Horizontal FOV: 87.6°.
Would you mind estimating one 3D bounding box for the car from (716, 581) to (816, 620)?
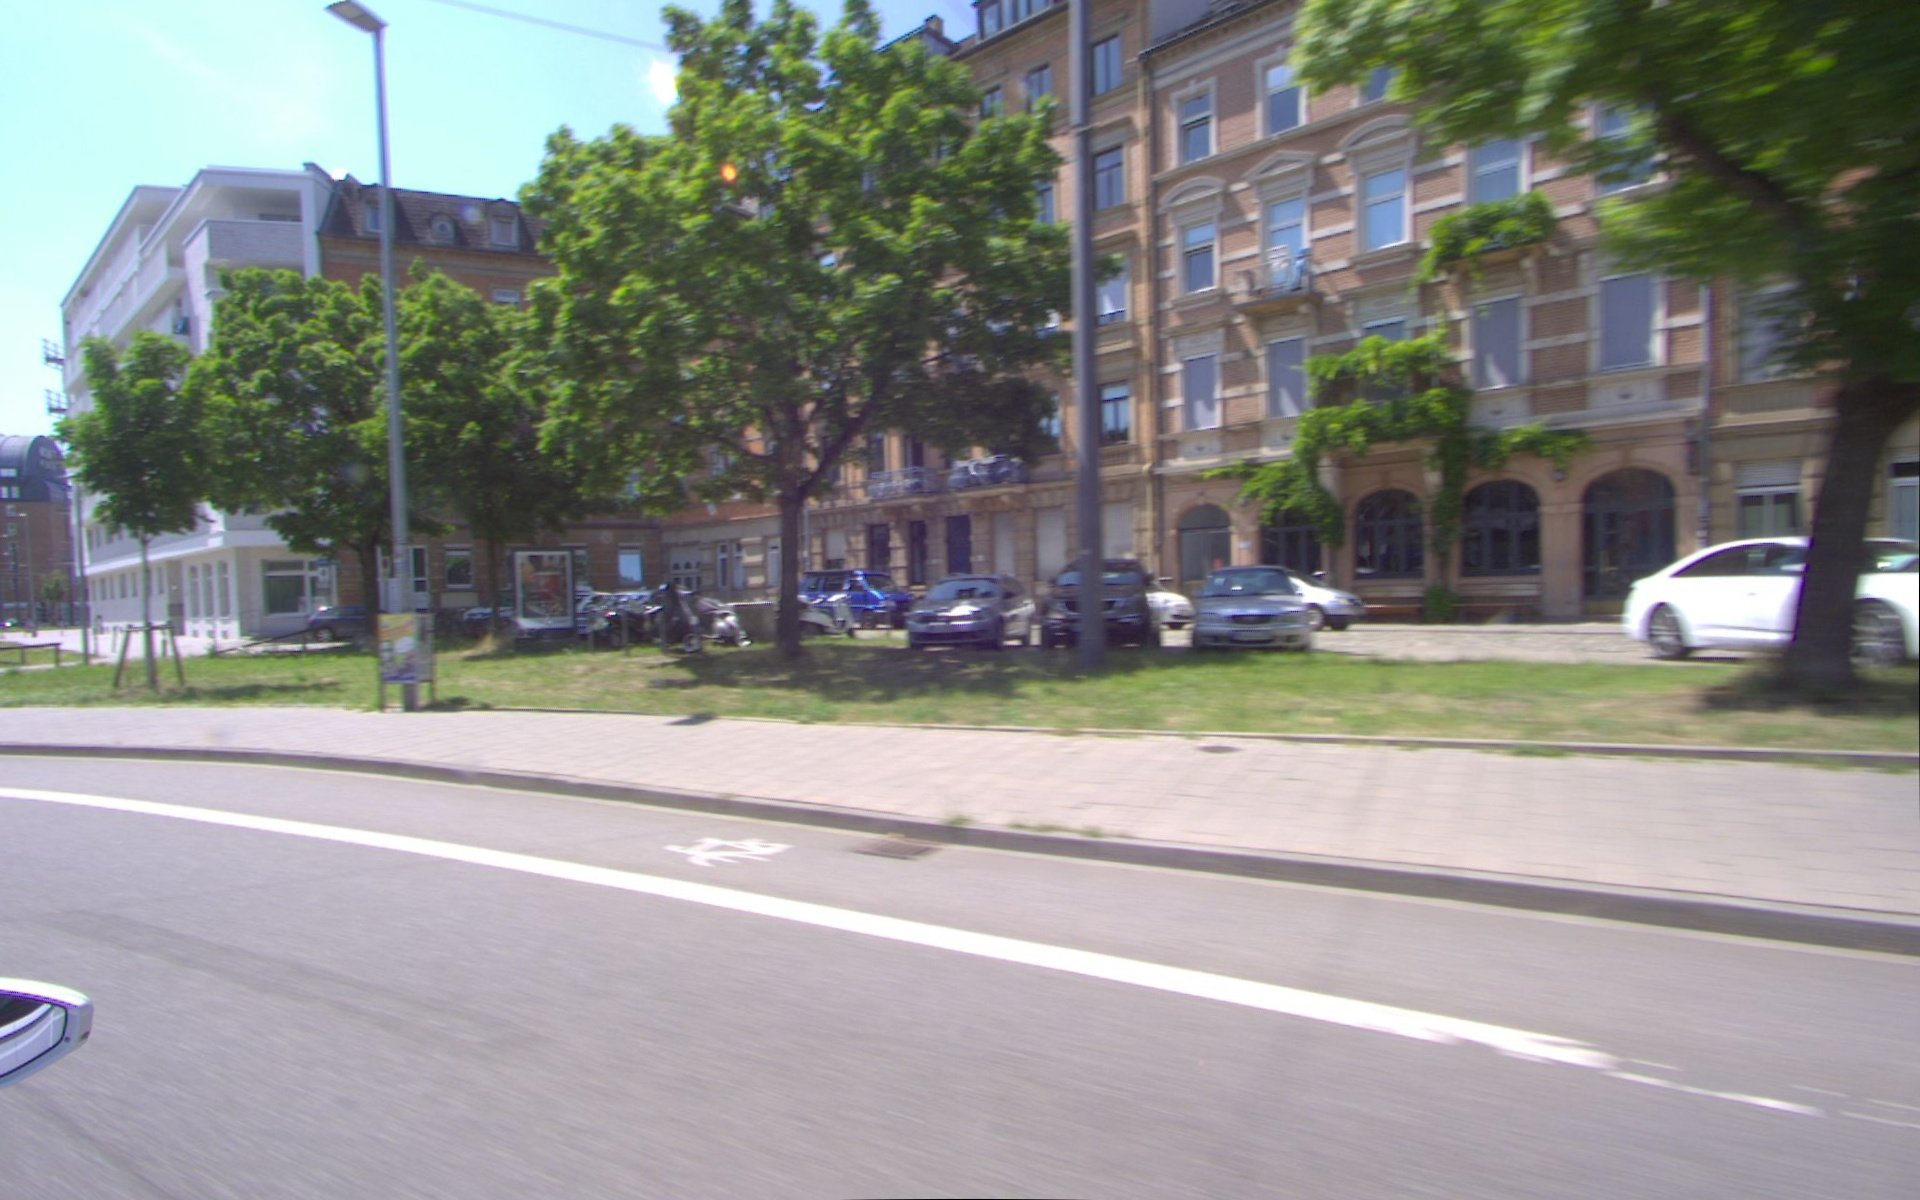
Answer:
[{"bbox_3d":[-7.621,0.059,39.205,3.954,1.439,1.763,-1,0,41],"label":"car"}]

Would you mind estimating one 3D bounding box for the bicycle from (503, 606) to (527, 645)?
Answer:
[{"bbox_3d":[-11.231,0.638,25.260,0.469,0.960,1.365,-1,0,-27],"label":"bicycle"}]

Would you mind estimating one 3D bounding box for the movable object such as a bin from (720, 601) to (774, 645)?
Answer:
[{"bbox_3d":[-4.710,0.508,22.163,0.977,0.949,0.696,-1,0,-37],"label":"movable object such as a bin"}]

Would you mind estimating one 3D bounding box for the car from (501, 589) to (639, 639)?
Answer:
[{"bbox_3d":[-11.223,0.389,29.116,1.726,1.349,3.995,-1,0,15],"label":"car"}]

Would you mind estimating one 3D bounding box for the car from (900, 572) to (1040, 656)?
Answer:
[{"bbox_3d":[0.322,0.251,18.989,1.554,1.394,4.342,-1,0,16],"label":"car"}]

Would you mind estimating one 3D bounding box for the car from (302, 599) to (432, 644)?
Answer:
[{"bbox_3d":[-23.060,0.832,39.115,4.059,1.646,1.691,-1,0,-19],"label":"car"}]

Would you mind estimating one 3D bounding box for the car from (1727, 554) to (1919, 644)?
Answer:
[{"bbox_3d":[15.426,-0.012,17.042,3.673,1.439,1.770,-1,0,41],"label":"car"}]

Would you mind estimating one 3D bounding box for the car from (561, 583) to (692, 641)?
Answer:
[{"bbox_3d":[-8.898,0.320,27.051,1.577,1.451,3.865,-1,0,13],"label":"car"}]

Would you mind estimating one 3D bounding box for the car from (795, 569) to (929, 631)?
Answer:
[{"bbox_3d":[-3.351,0.035,33.626,4.603,1.929,1.909,-1,0,42],"label":"car"}]

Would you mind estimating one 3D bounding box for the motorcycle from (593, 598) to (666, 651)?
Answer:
[{"bbox_3d":[-7.332,0.529,22.271,0.472,1.135,1.513,0,0,41],"label":"motorcycle"}]

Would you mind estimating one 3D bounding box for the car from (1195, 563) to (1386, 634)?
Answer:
[{"bbox_3d":[7.851,-0.010,23.918,3.953,1.550,1.828,-1,0,40],"label":"car"}]

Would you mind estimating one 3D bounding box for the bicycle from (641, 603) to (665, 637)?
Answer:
[{"bbox_3d":[-7.683,0.504,25.118,0.490,0.816,1.454,-1,0,-14],"label":"bicycle"}]

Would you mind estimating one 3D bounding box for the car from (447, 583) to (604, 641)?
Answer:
[{"bbox_3d":[-13.257,0.354,30.933,1.802,1.622,4.869,-1,0,15],"label":"car"}]

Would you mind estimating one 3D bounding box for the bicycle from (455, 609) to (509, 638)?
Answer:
[{"bbox_3d":[-16.196,0.791,33.989,0.499,0.948,2.049,-1,0,11],"label":"bicycle"}]

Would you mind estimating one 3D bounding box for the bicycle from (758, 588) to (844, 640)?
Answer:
[{"bbox_3d":[-3.964,0.330,25.067,2.060,1.252,0.626,-1,0,-38],"label":"bicycle"}]

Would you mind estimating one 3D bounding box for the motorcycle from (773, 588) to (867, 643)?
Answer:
[{"bbox_3d":[-3.333,0.361,23.955,2.057,1.252,0.807,-1,0,-33],"label":"motorcycle"}]

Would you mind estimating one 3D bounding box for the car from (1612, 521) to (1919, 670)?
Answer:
[{"bbox_3d":[9.671,-0.037,10.852,2.108,1.330,4.788,-1,0,1],"label":"car"}]

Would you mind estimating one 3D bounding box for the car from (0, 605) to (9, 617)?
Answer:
[{"bbox_3d":[-140.938,1.610,145.178,3.930,1.750,1.863,-1,0,-18],"label":"car"}]

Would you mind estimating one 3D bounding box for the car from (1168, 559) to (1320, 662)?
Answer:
[{"bbox_3d":[4.417,0.158,15.175,1.938,1.330,3.992,-1,0,20],"label":"car"}]

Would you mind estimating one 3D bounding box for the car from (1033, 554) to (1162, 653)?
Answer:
[{"bbox_3d":[2.489,0.078,17.299,1.765,1.489,4.088,-1,0,14],"label":"car"}]

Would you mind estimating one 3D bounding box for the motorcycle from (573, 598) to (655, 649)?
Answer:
[{"bbox_3d":[-7.927,0.520,22.990,0.521,1.135,1.817,-1,0,35],"label":"motorcycle"}]

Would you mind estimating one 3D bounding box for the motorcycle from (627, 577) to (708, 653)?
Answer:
[{"bbox_3d":[-5.832,0.298,19.914,1.836,1.432,0.671,0,3,43],"label":"motorcycle"}]

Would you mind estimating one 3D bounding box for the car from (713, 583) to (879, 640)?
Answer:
[{"bbox_3d":[-4.330,0.284,26.730,3.956,1.394,1.940,0,0,-41],"label":"car"}]

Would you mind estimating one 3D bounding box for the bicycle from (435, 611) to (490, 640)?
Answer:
[{"bbox_3d":[-16.830,0.848,33.930,0.499,0.948,2.049,-1,0,11],"label":"bicycle"}]

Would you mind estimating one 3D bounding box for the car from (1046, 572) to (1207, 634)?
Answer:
[{"bbox_3d":[4.417,0.105,26.971,3.958,1.550,1.825,-1,0,44],"label":"car"}]
